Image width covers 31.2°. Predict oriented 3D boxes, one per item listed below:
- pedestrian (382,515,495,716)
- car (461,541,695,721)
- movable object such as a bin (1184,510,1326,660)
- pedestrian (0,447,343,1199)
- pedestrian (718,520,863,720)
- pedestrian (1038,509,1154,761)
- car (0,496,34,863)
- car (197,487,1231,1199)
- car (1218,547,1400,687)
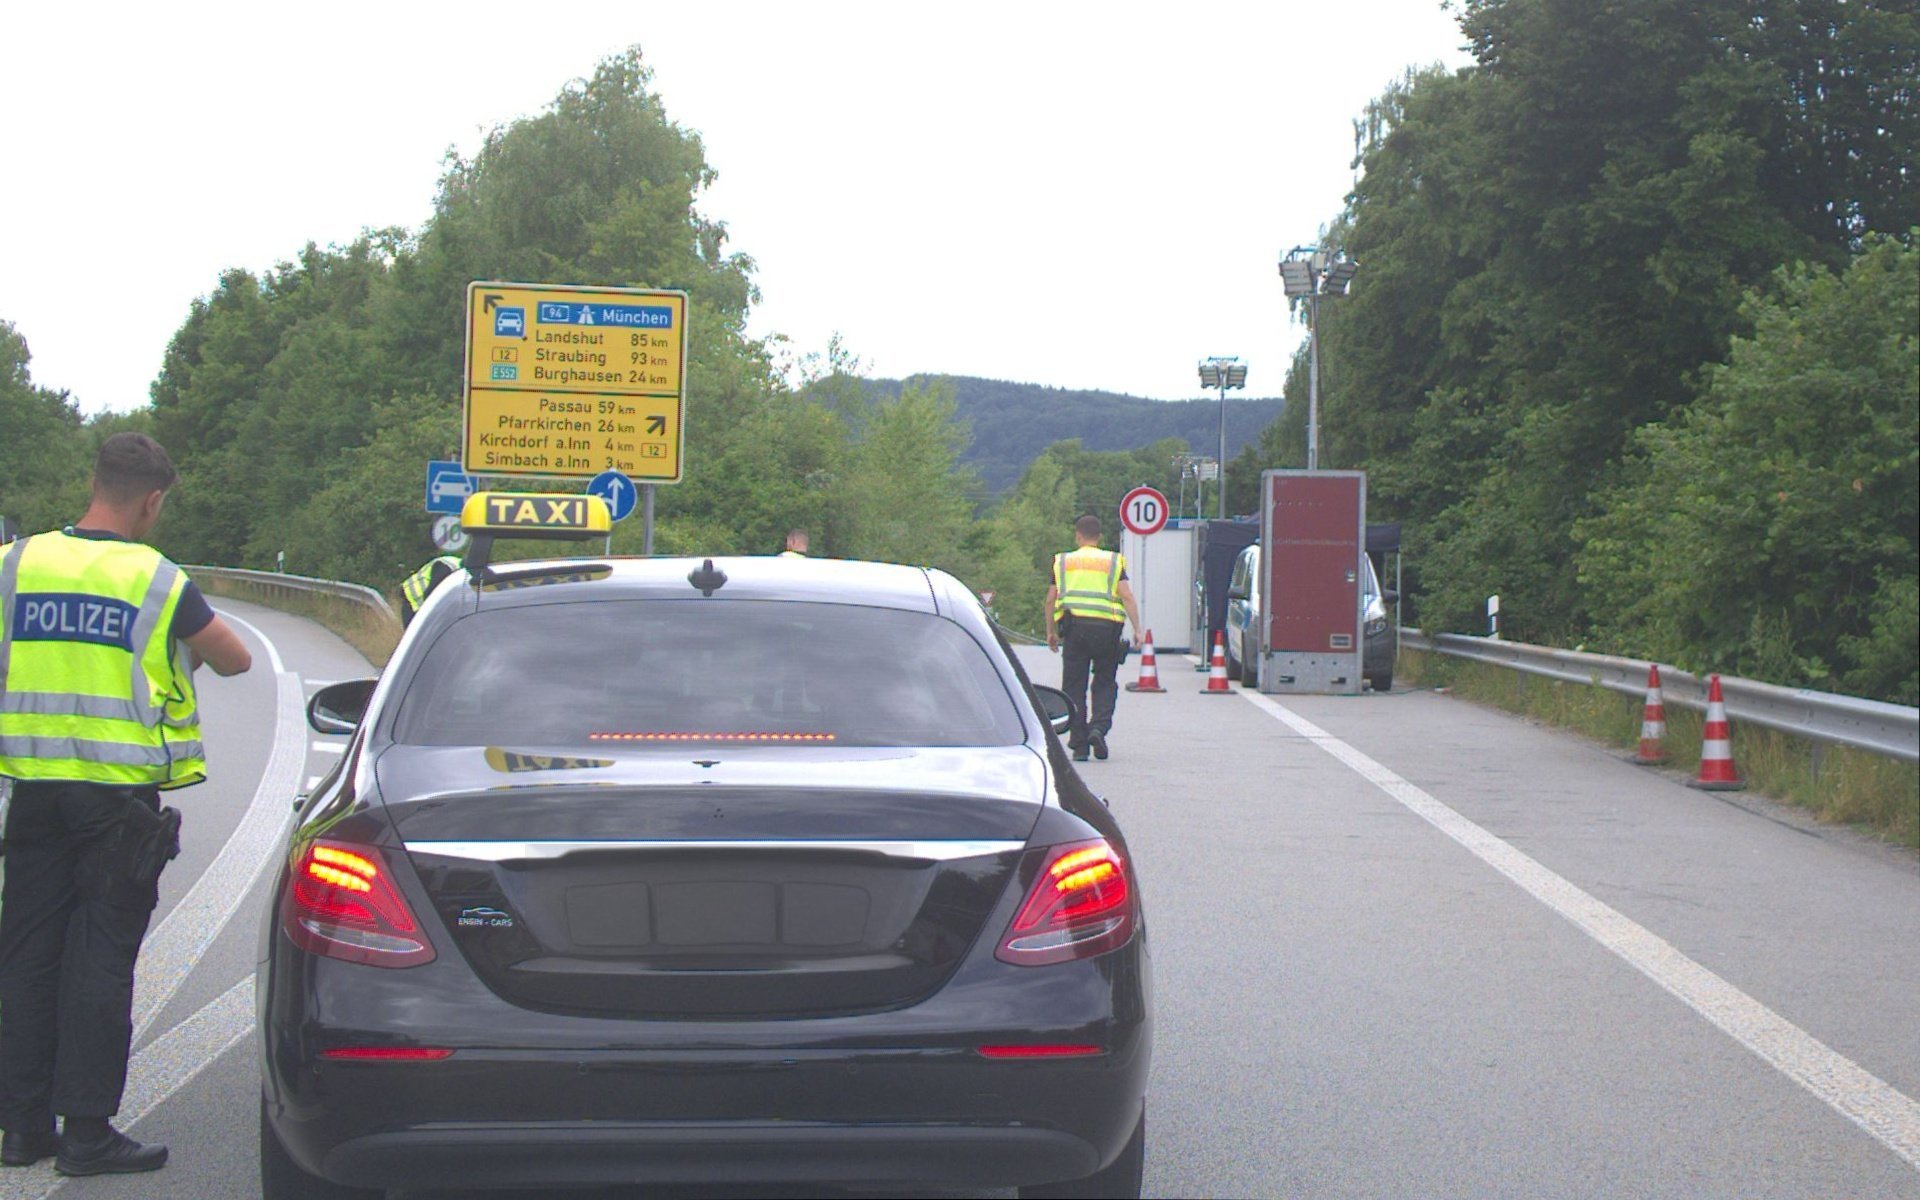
[{"bbox_3d":[-4.663,0.133,30.796,0.910,1.763,0.912,1,1,-3],"label":"pedestrian"},{"bbox_3d":[-3.350,0.225,30.774,1.855,1.493,4.257,0,1,-3],"label":"car"},{"bbox_3d":[4.642,-0.256,54.628,1.993,2.272,4.168,1,1,2],"label":"movable object such as a bin"},{"bbox_3d":[-2.015,0.514,8.071,0.761,1.712,0.816,1,1,37],"label":"pedestrian"},{"bbox_3d":[-1.464,0.162,29.632,0.908,1.692,0.914,0,1,-32],"label":"pedestrian"},{"bbox_3d":[0.995,0.251,25.330,0.812,1.824,0.809,0,1,-1],"label":"pedestrian"},{"bbox_3d":[-5.383,0.391,15.023,1.868,1.737,4.009,0,1,-4],"label":"car"},{"bbox_3d":[-0.633,0.563,8.384,1.855,1.589,4.376,0,1,-5],"label":"car"},{"bbox_3d":[4.583,0.176,45.789,1.916,1.672,5.083,2,1,1],"label":"car"}]
